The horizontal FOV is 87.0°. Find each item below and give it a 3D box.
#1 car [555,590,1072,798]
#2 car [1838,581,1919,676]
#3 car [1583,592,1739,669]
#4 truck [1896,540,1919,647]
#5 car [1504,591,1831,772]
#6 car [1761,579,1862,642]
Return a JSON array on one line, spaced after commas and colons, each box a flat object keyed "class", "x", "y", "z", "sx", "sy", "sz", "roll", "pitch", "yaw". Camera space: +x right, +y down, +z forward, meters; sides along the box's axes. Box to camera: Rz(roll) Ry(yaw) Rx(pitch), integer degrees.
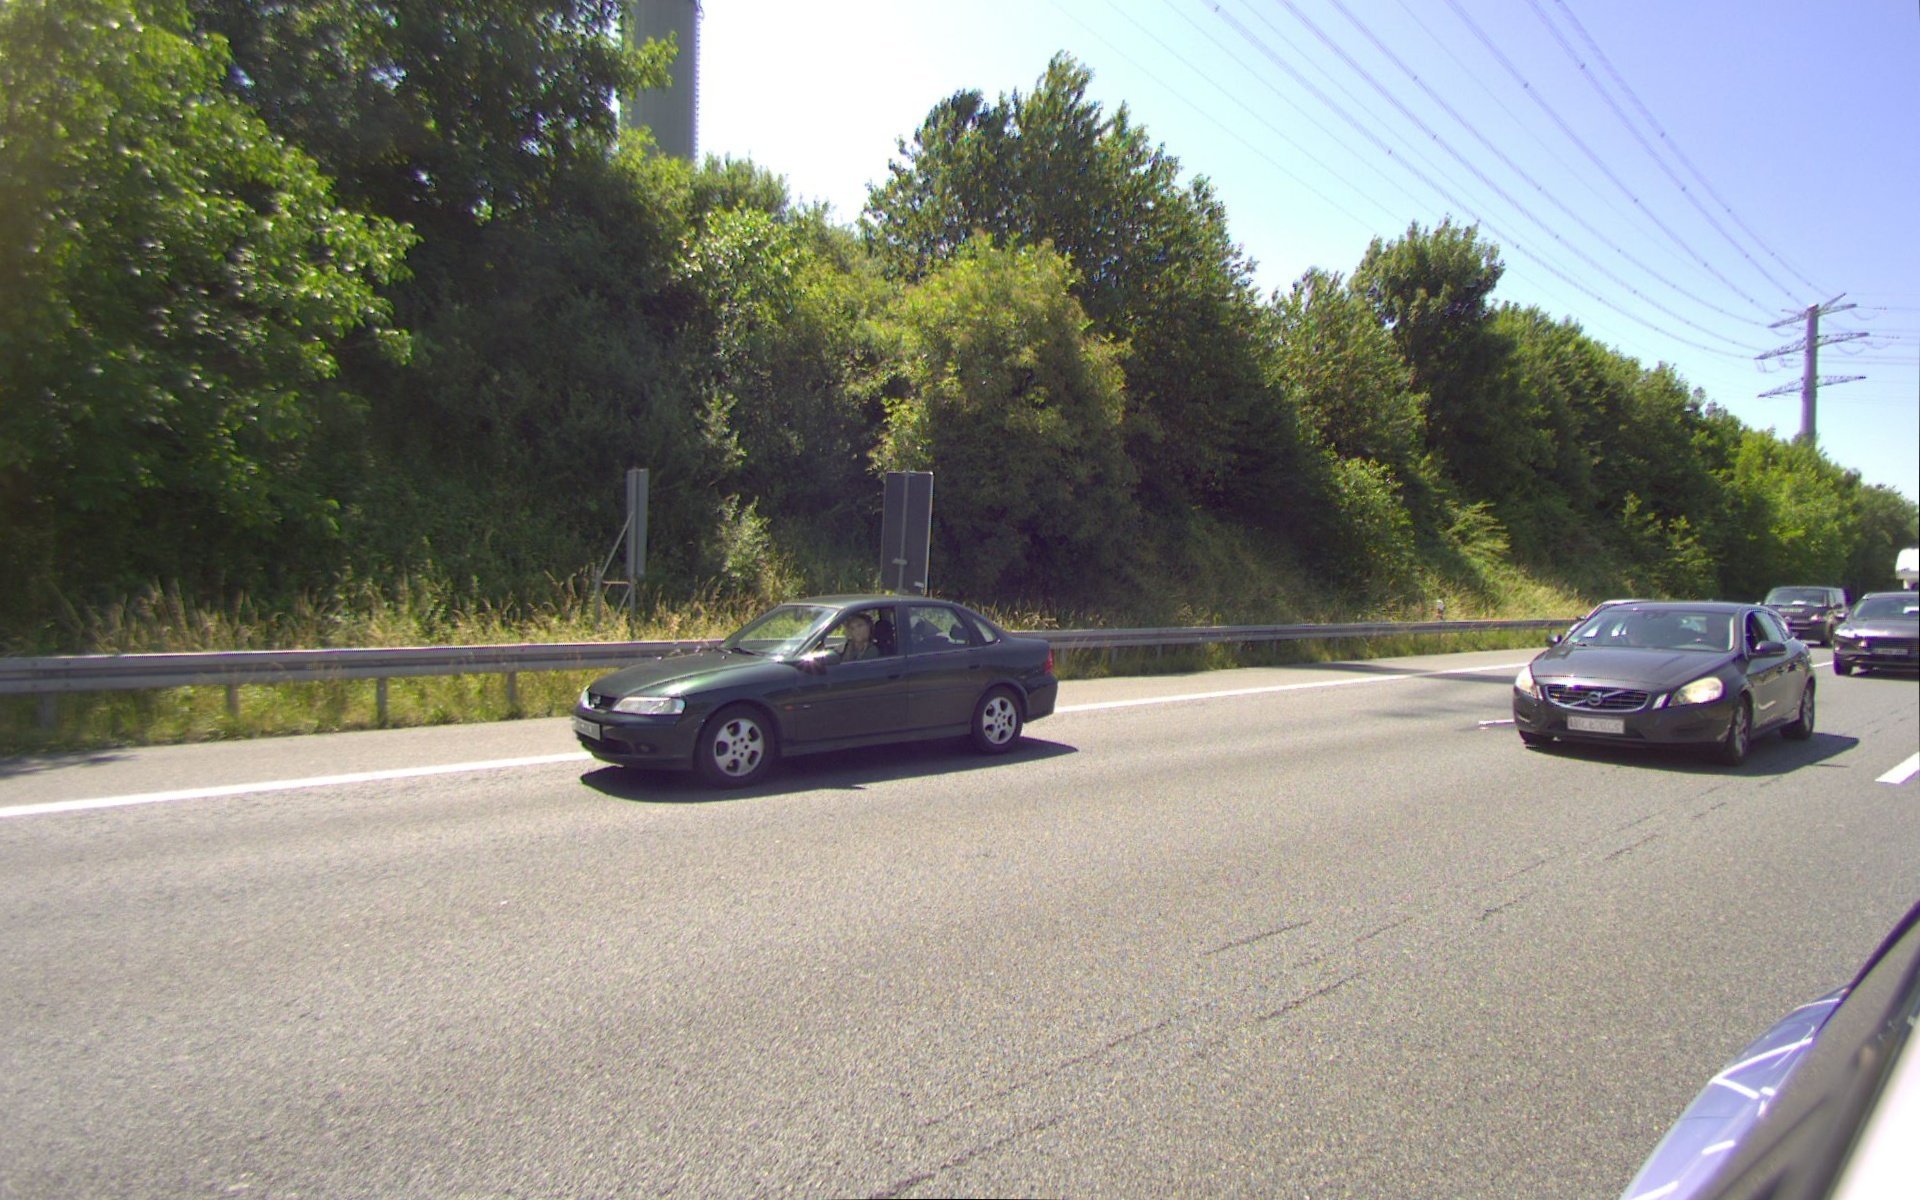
[{"class": "car", "x": -1.095, "y": 0.613, "z": 8.839, "sx": 4.227, "sy": 1.395, "sz": 1.737, "roll": 0, "pitch": 0, "yaw": -41}, {"class": "car", "x": 19.016, "y": 0.504, "z": 20.055, "sx": 4.307, "sy": 1.724, "sz": 1.890, "roll": 0, "pitch": 1, "yaw": -41}, {"class": "car", "x": 15.017, "y": 0.578, "z": 21.610, "sx": 3.942, "sy": 1.488, "sz": 1.744, "roll": 0, "pitch": 0, "yaw": -40}, {"class": "truck", "x": 31.490, "y": -0.218, "z": 31.179, "sx": 9.719, "sy": 3.053, "sz": 2.514, "roll": 0, "pitch": 0, "yaw": -39}, {"class": "car", "x": 7.292, "y": 0.644, "z": 10.271, "sx": 4.157, "sy": 1.455, "sz": 1.799, "roll": 0, "pitch": 1, "yaw": -41}, {"class": "car", "x": 28.110, "y": 0.309, "z": 33.367, "sx": 4.615, "sy": 1.928, "sz": 1.787, "roll": 0, "pitch": 0, "yaw": -40}]
